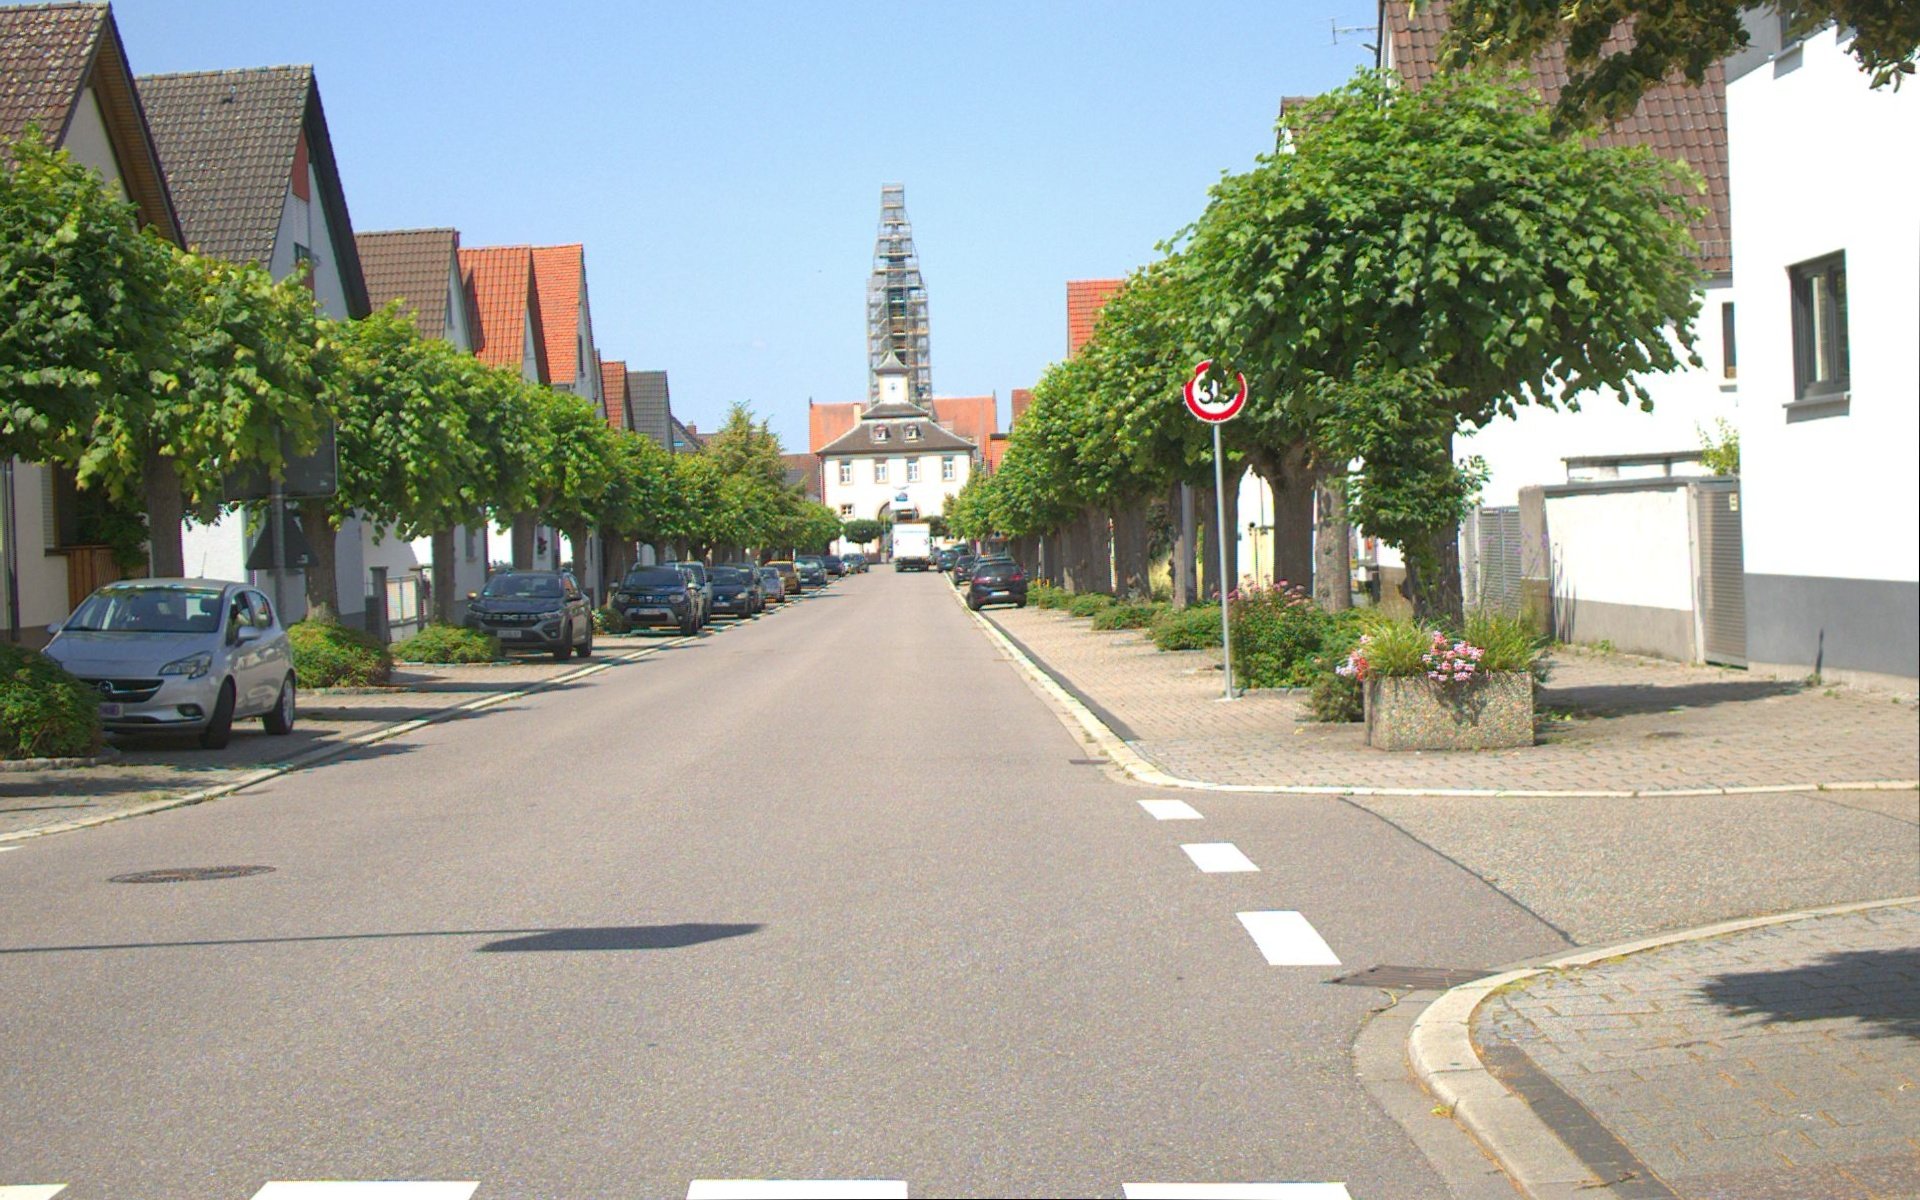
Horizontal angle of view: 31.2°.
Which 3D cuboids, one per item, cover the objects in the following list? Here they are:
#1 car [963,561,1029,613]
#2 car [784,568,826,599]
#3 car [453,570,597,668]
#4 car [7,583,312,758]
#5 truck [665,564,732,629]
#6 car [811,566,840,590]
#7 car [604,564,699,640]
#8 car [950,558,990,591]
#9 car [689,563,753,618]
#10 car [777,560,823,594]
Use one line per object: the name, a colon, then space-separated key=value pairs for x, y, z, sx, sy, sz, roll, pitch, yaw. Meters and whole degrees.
car: x=1.068 y=-0.412 z=104.871 sx=1.824 sy=1.427 sz=4.057 roll=-4 pitch=1 yaw=-1
car: x=-8.481 y=-0.912 z=188.203 sx=1.993 sy=1.606 sz=4.689 roll=1 pitch=1 yaw=0
car: x=-7.432 y=0.300 z=59.096 sx=1.853 sy=1.607 sz=4.135 roll=0 pitch=0 yaw=1
car: x=-7.188 y=0.585 z=31.271 sx=1.825 sy=1.478 sz=4.132 roll=0 pitch=0 yaw=0
truck: x=-7.260 y=-0.113 z=95.704 sx=1.576 sy=1.759 sz=4.192 roll=0 pitch=0 yaw=-1
car: x=-9.029 y=-1.483 z=231.451 sx=1.757 sy=1.550 sz=4.020 roll=-2 pitch=1 yaw=0
car: x=-7.073 y=0.031 z=79.190 sx=1.853 sy=1.631 sz=4.299 roll=1 pitch=1 yaw=-1
car: x=0.488 y=-1.321 z=174.445 sx=1.837 sy=1.550 sz=4.314 roll=-3 pitch=1 yaw=-1
car: x=-7.279 y=-0.297 z=104.405 sx=1.785 sy=1.628 sz=4.001 roll=-1 pitch=0 yaw=-6
car: x=-7.722 y=-1.133 z=166.319 sx=1.993 sy=1.606 sz=4.689 roll=0 pitch=1 yaw=0
